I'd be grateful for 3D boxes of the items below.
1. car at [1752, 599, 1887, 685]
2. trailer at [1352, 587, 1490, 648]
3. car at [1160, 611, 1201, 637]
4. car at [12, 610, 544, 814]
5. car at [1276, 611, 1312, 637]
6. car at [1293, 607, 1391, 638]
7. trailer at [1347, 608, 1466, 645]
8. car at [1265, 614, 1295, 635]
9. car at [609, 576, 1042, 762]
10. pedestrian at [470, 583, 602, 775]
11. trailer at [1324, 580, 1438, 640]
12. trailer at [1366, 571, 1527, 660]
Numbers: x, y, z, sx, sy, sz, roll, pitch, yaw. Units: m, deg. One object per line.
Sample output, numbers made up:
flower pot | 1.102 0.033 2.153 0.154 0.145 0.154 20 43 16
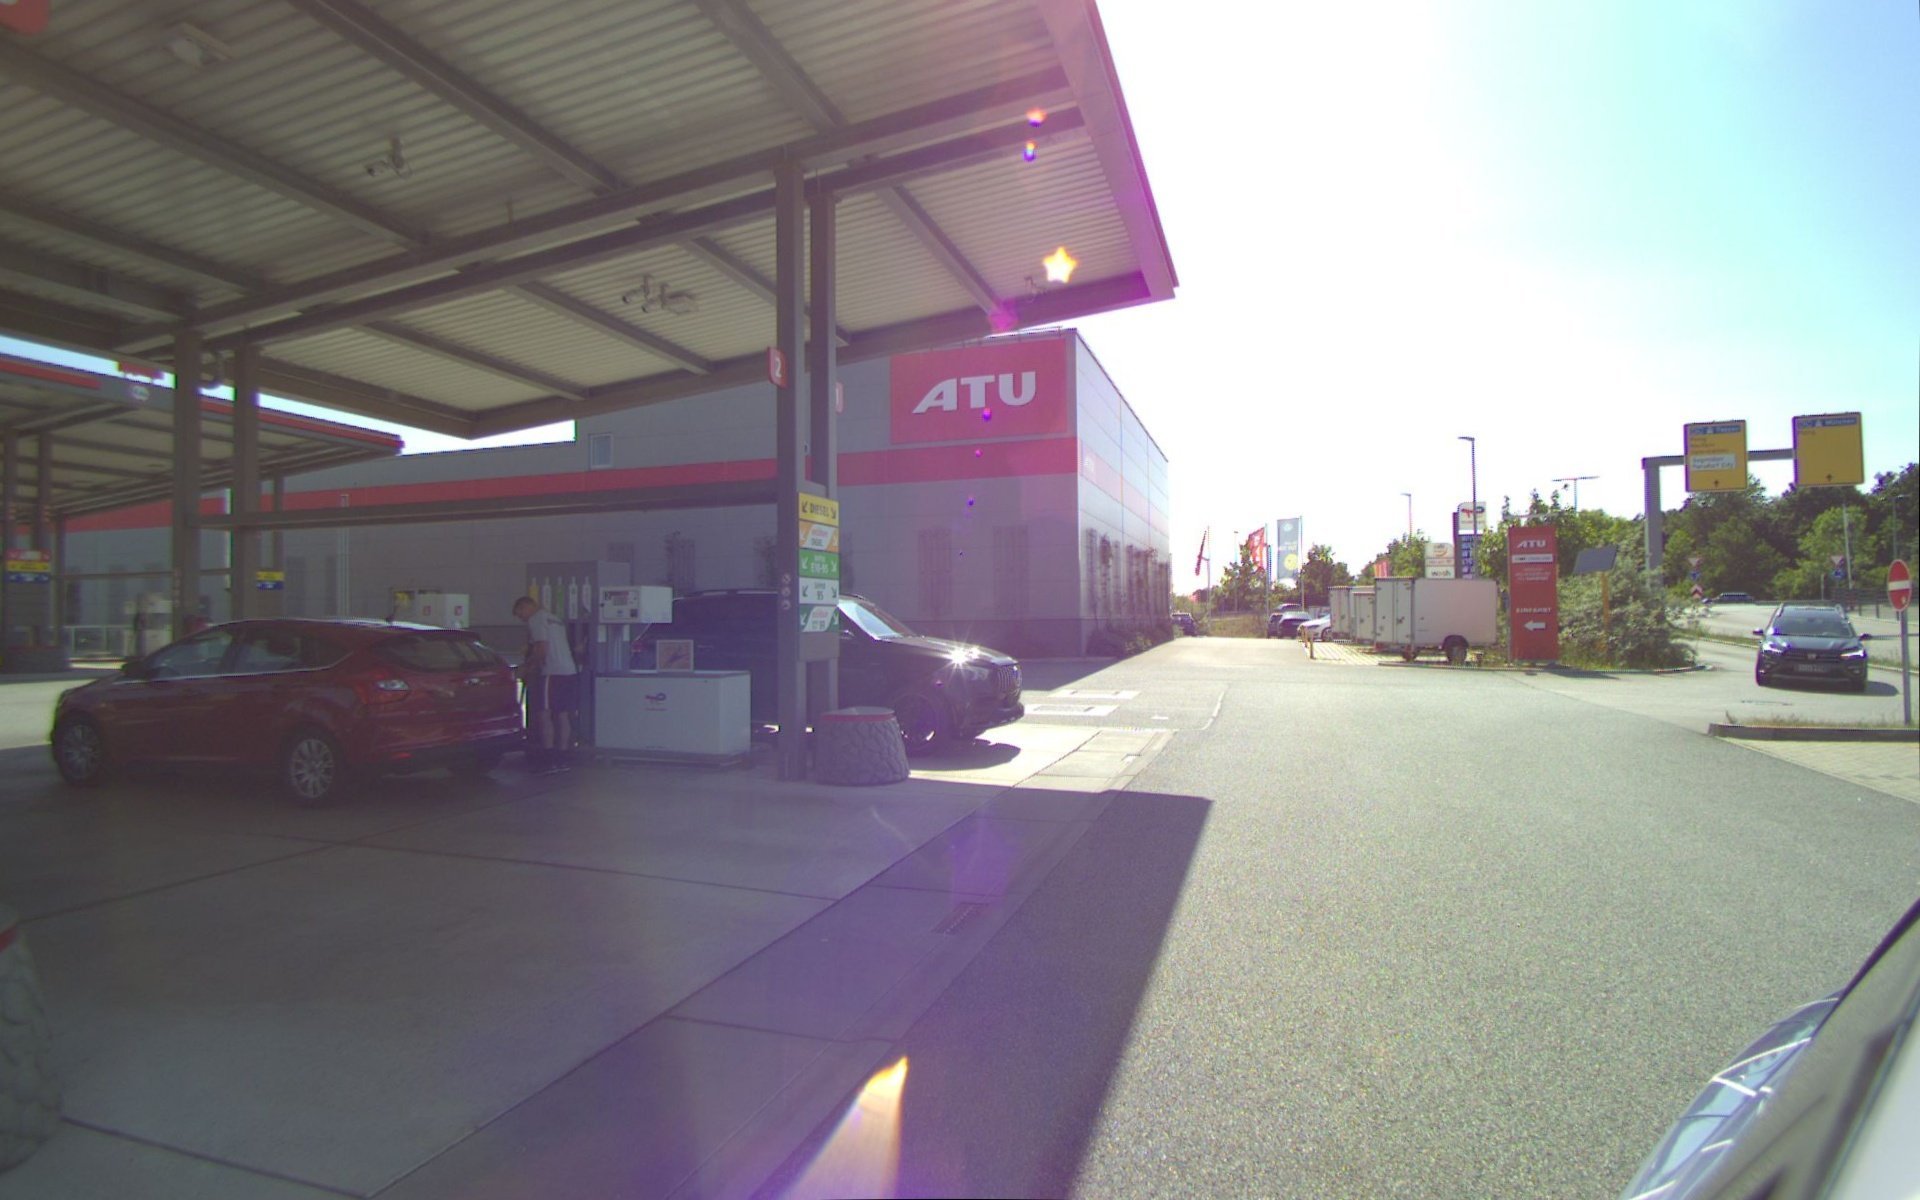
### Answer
car | 18.625 0.841 22.118 1.732 1.666 4.574 -1 -1 34
trailer | 15.733 0.586 34.641 3.919 2.039 1.805 0 -1 -6
car | 13.308 1.427 61.235 1.650 1.561 3.834 0 0 1
car | -5.946 0.831 8.887 4.177 1.488 1.694 0 -1 19
car | 17.694 1.259 53.767 1.658 1.334 3.815 0 0 16
car | 16.894 0.989 44.764 3.755 1.334 1.685 0 -1 -15
trailer | 16.277 0.946 36.959 3.644 1.297 1.580 0 -1 -6
car | 20.190 1.522 63.818 1.660 1.319 3.700 0 -1 20
car | -1.562 0.693 12.069 4.735 1.874 2.022 1 0 19
pedestrian | -3.997 0.715 9.572 0.916 1.724 0.699 0 -1 19
trailer | 17.678 0.400 42.550 3.918 2.458 2.003 0 -1 -9
trailer | 14.141 0.423 29.471 3.916 2.458 2.004 0 -1 -19
